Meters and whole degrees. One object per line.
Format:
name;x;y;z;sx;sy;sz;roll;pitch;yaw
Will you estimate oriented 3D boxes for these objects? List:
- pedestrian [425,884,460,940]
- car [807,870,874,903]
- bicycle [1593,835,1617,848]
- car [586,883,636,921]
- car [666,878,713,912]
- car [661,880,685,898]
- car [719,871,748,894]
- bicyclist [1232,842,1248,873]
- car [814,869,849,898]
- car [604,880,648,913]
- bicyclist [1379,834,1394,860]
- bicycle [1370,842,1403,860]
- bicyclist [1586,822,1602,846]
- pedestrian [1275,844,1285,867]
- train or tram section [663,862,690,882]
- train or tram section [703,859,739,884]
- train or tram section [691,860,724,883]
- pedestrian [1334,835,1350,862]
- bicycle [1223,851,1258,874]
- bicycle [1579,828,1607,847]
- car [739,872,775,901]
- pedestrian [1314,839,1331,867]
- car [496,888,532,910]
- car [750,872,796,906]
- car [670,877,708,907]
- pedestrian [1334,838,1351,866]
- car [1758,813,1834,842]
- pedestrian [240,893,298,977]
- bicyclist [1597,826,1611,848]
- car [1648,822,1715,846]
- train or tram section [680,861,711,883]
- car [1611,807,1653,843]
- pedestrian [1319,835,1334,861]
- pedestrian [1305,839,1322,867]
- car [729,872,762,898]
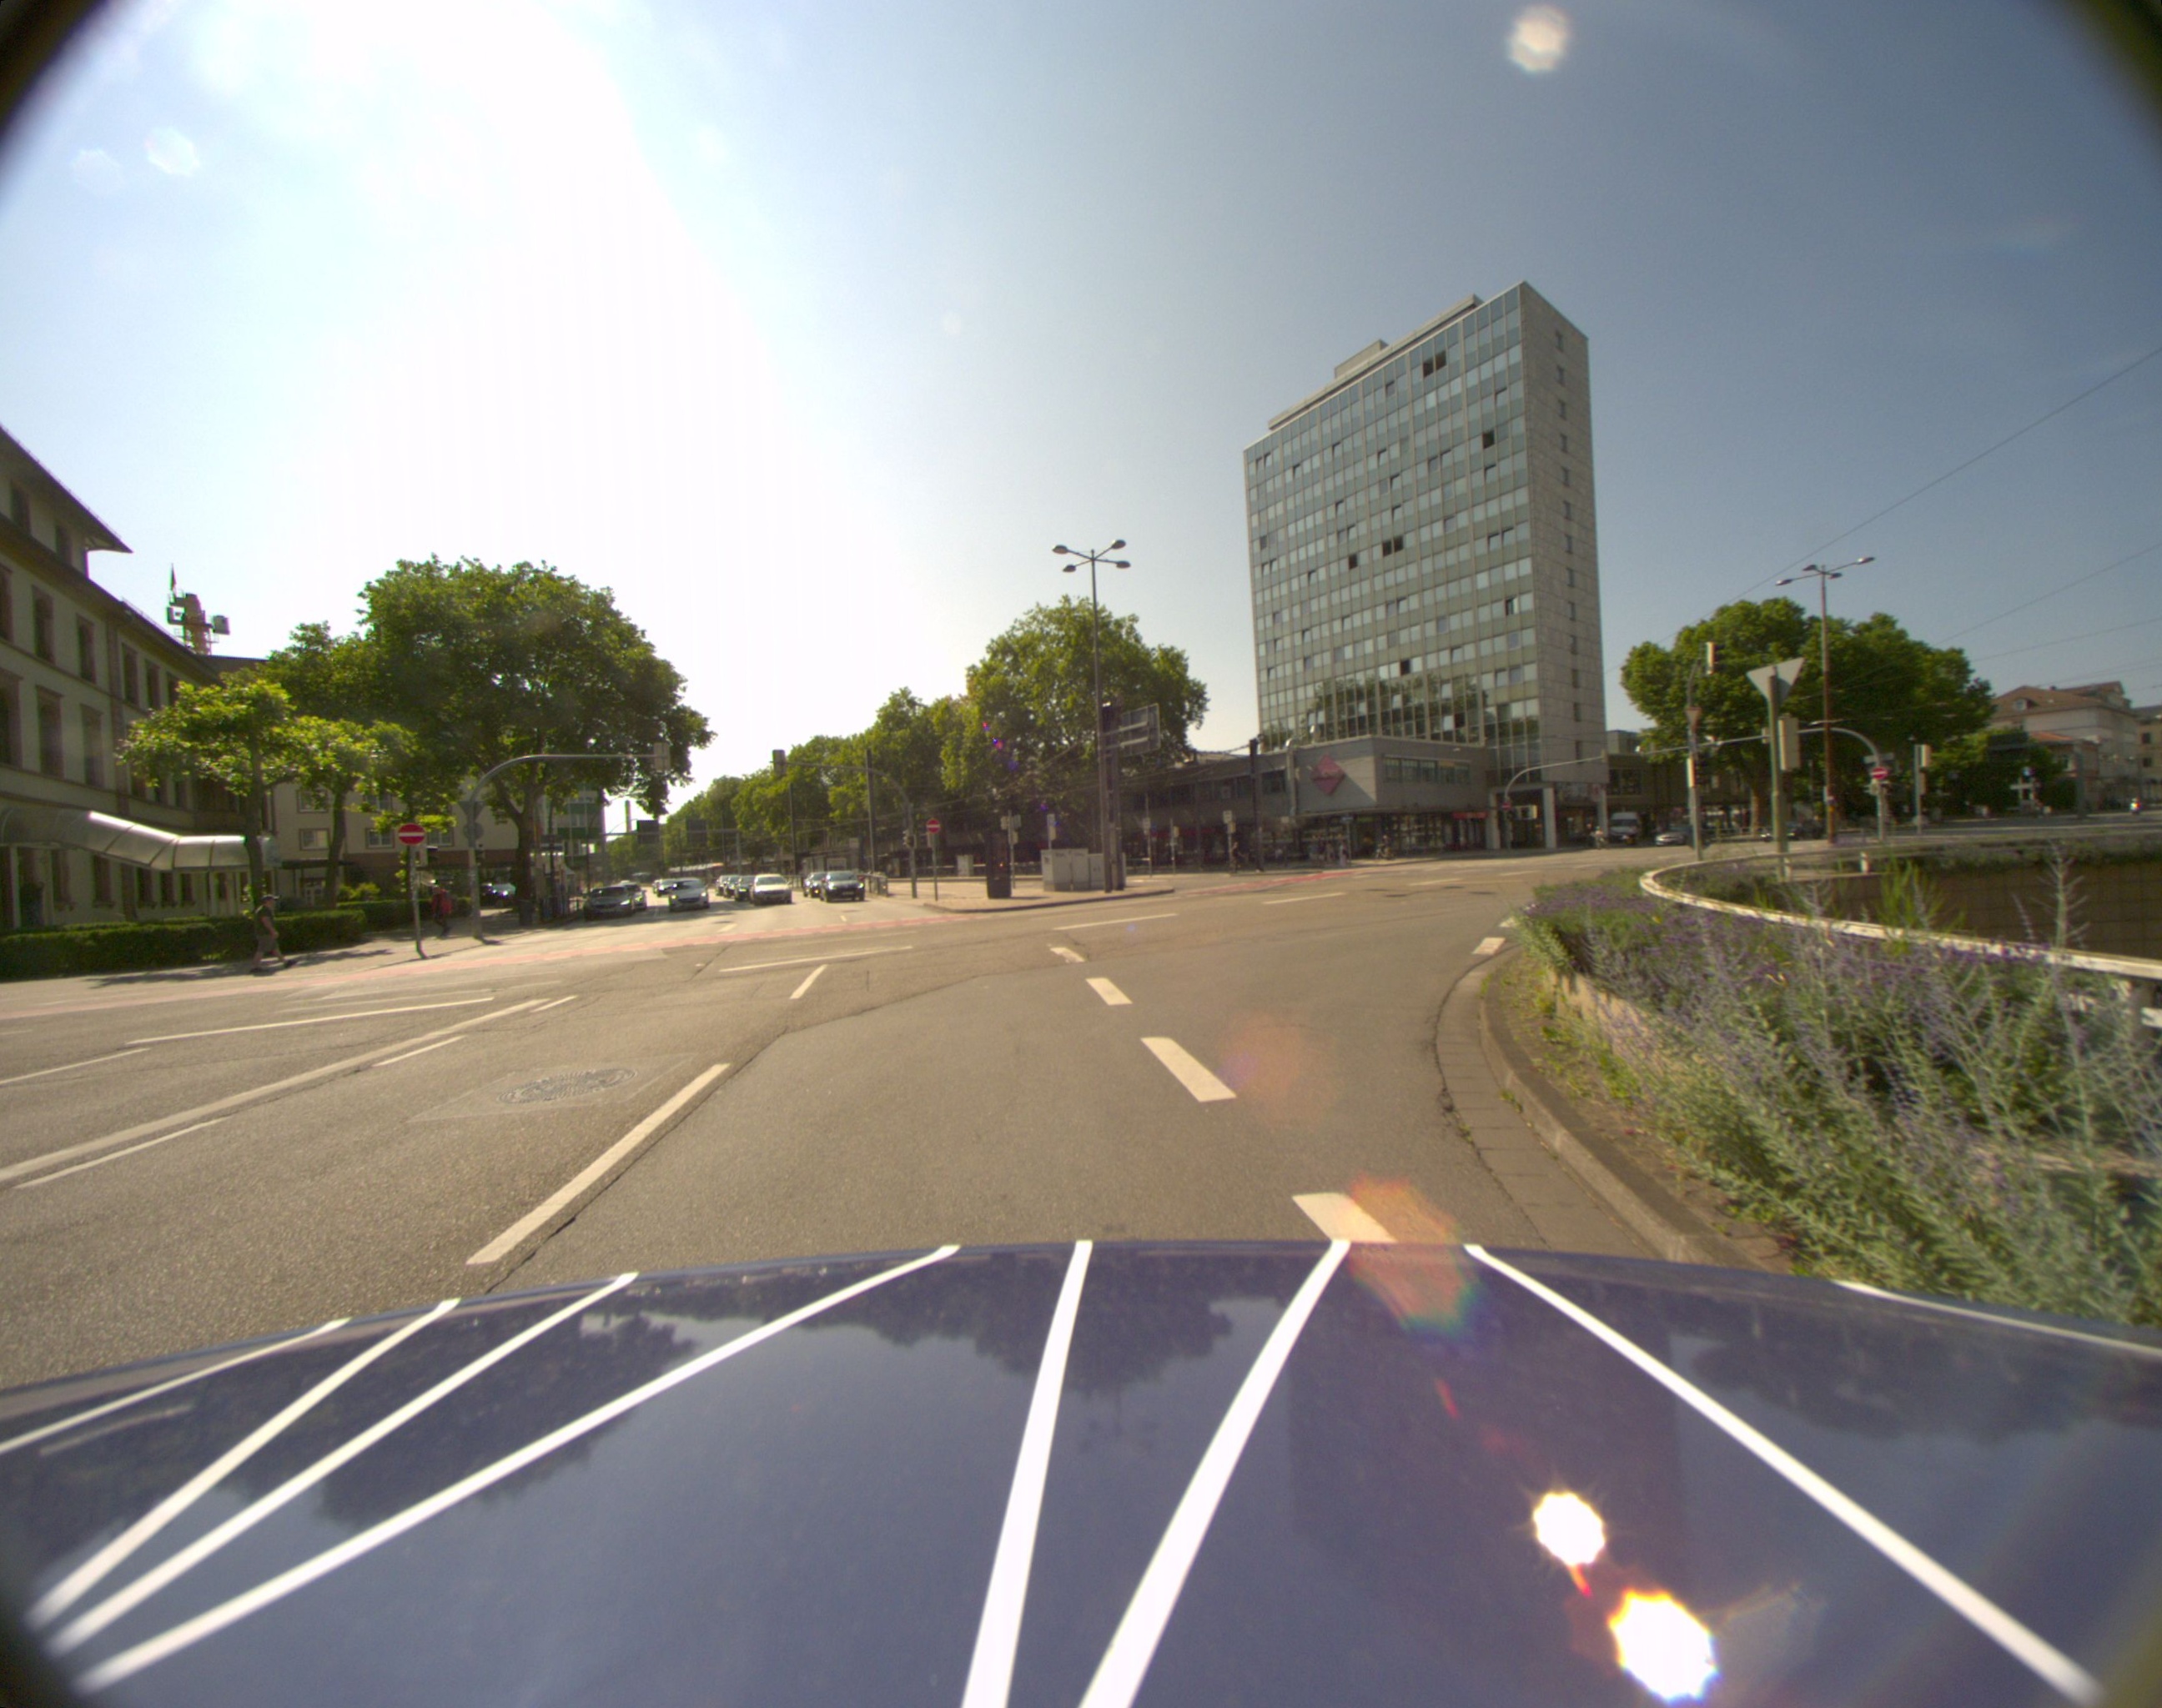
pedestrian;-21.581;1.947;25.686;0.727;1.795;0.651;-4;1;-30
car;-11.753;1.526;36.972;1.795;1.443;4.270;-2;0;-36
bicycle;37.776;-0.909;54.807;1.813;0.878;0.591;-4;2;-26
car;-21.052;2.096;34.085;1.795;1.443;3.964;-2;0;-31
car;-18.726;1.895;36.261;1.795;1.443;3.965;-2;0;-29
car;-36.422;3.134;67.893;1.795;1.443;3.965;-2;0;-27
car;-25.636;2.066;56.143;1.794;1.514;3.966;-2;0;-23
bicyclist;8.806;0.190;42.024;0.684;1.697;0.521;-3;1;-9
car;-14.499;1.688;43.989;1.794;1.508;3.967;-2;0;-19
car;-23.686;2.186;39.648;1.795;1.516;3.965;-2;0;-29
bicyclist;20.397;-0.480;50.733;0.684;1.677;0.583;-3;1;-6
bicycle;20.368;-0.177;50.731;1.969;1.096;0.576;-3;1;-7
bicyclist;38.350;-1.459;56.841;0.684;1.758;0.696;-3;2;-20
pedestrian;13.873;0.106;52.976;0.598;1.628;0.566;-2;1;19
train or tram section;-72.417;3.189;135.913;2.739;3.248;8.715;-4;1;-37
train or tram section;-51.331;2.558;108.121;2.739;3.248;8.715;-4;1;-37
train or tram section;-56.597;2.716;115.024;2.739;3.248;8.715;-4;1;-37
pedestrian;17.796;-0.375;51.831;0.823;1.825;0.671;-2;1;-6
bicycle;8.836;0.468;42.030;1.816;1.160;0.521;-2;1;-9
bicycle;38.318;-1.228;56.824;1.941;1.292;0.715;-3;2;-20
car;-18.819;1.835;44.099;1.794;1.514;3.966;-2;0;-23
pedestrian;15.919;-0.079;50.088;0.825;1.825;0.669;-3;1;-37
car;-39.039;3.096;52.395;1.593;1.314;3.571;-4;0;-32
car;-15.158;1.674;37.297;1.723;1.491;4.482;-2;-1;-26
car;-21.910;2.089;42.568;1.794;1.521;3.966;-2;0;-26
pedestrian;17.167;-0.136;49.889;0.825;1.825;0.669;-3;1;-38
car;43.942;-1.620;46.680;4.083;1.525;1.879;-3;0;-23
pedestrian;-18.823;1.864;17.618;0.590;1.834;0.730;-3;1;31
bicyclist;37.723;-1.237;54.791;0.685;1.518;0.581;-4;2;-26
car;41.963;-1.395;53.055;4.168;1.452;1.879;-3;0;-23
train or tram section;-61.879;2.874;121.965;2.739;3.248;8.715;-4;1;-37
car;48.200;-2.551;66.392;4.644;2.899;1.743;-4;1;-39
pedestrian;17.285;-0.396;53.562;0.823;1.796;0.671;-2;1;2
pedestrian;15.554;-0.061;50.818;0.825;1.825;0.733;-3;1;-37
car;-21.607;1.993;49.013;1.794;1.514;3.966;-2;0;-23
